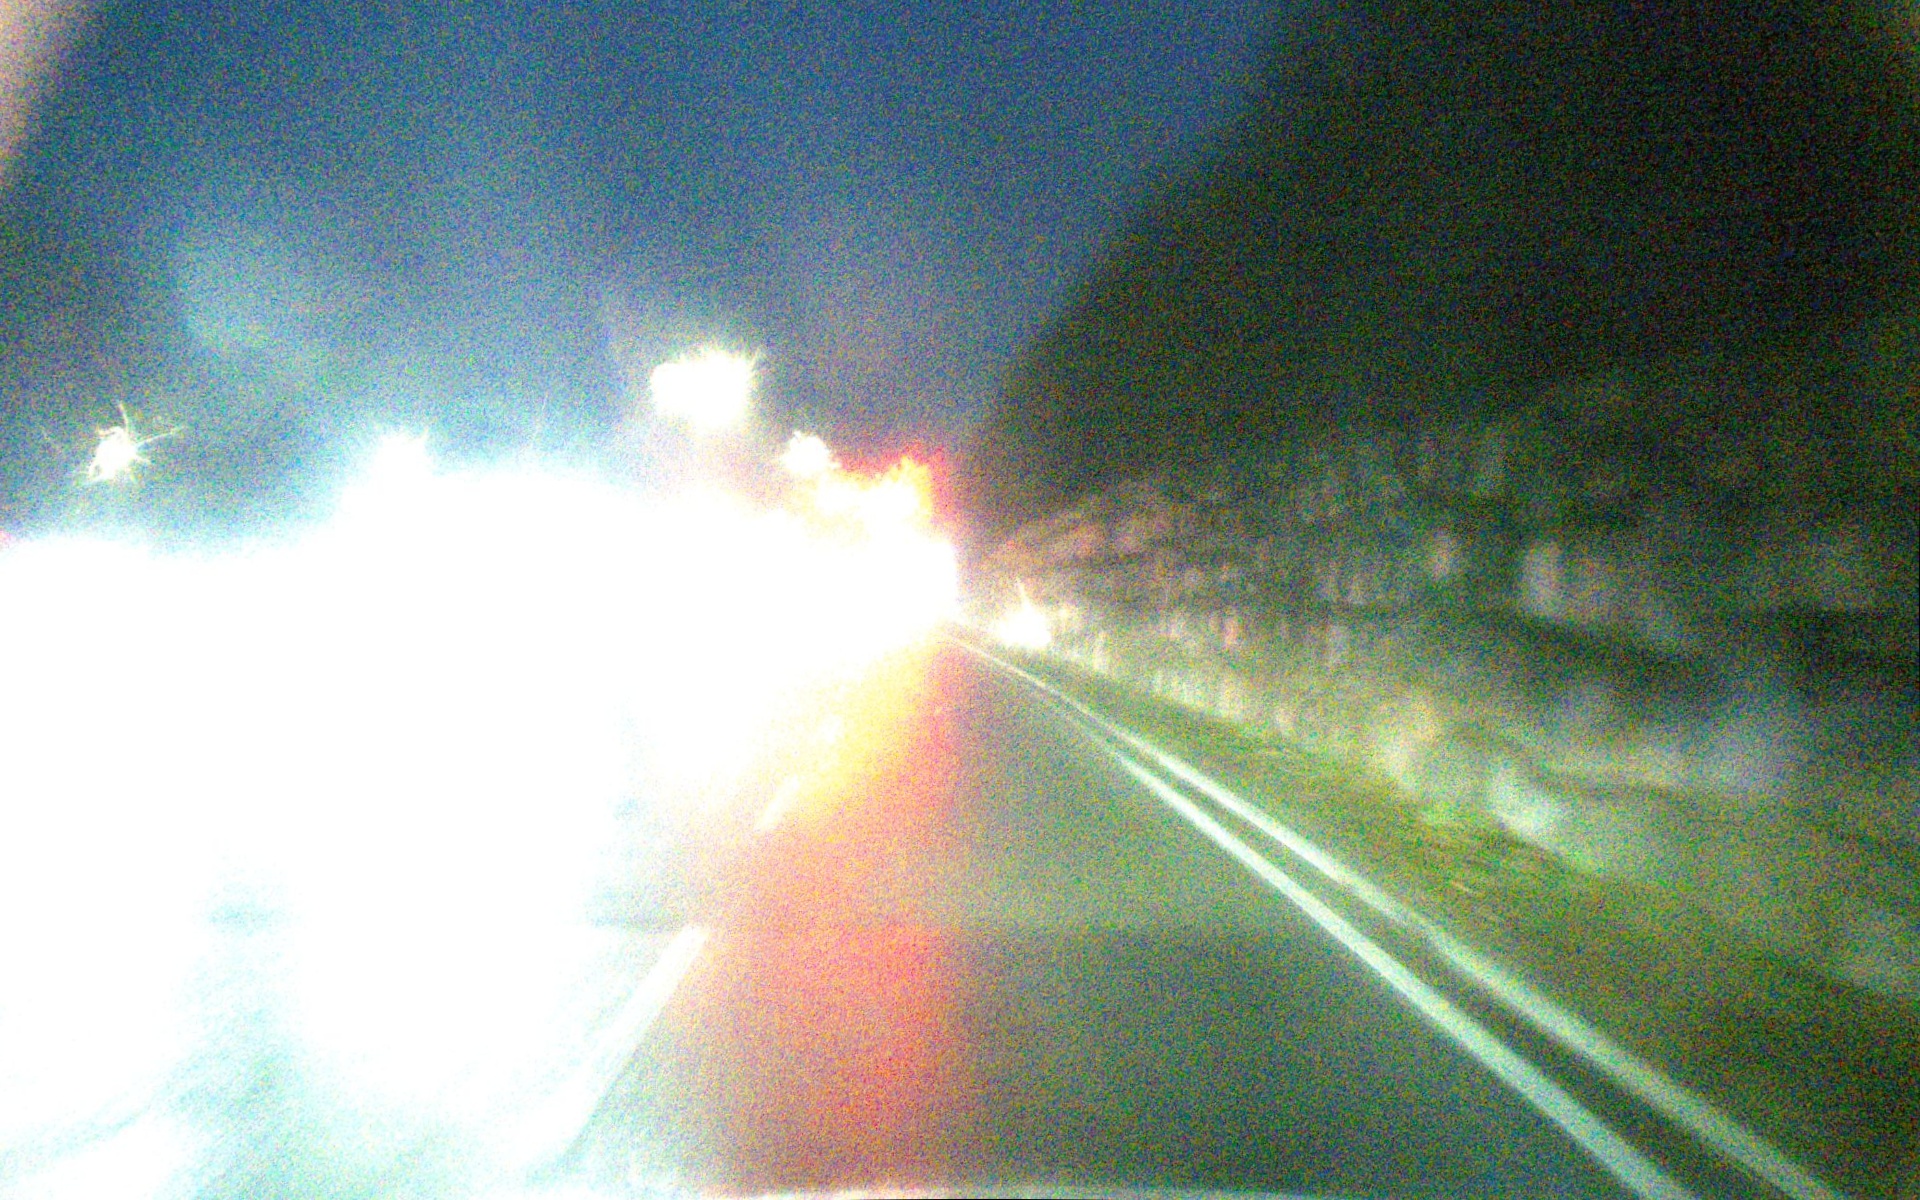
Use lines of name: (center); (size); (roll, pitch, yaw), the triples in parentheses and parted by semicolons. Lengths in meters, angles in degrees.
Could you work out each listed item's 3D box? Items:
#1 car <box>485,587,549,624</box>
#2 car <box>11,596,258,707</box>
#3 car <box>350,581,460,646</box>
car: (-17.534, 0.213, 65.614); (1.840, 1.422, 4.243); (0, 0, -7)
car: (-12.110, 0.702, 24.611); (1.797, 1.467, 4.484); (1, 0, -6)
car: (-13.885, 0.309, 41.588); (1.756, 1.466, 3.852); (-2, 1, -6)
